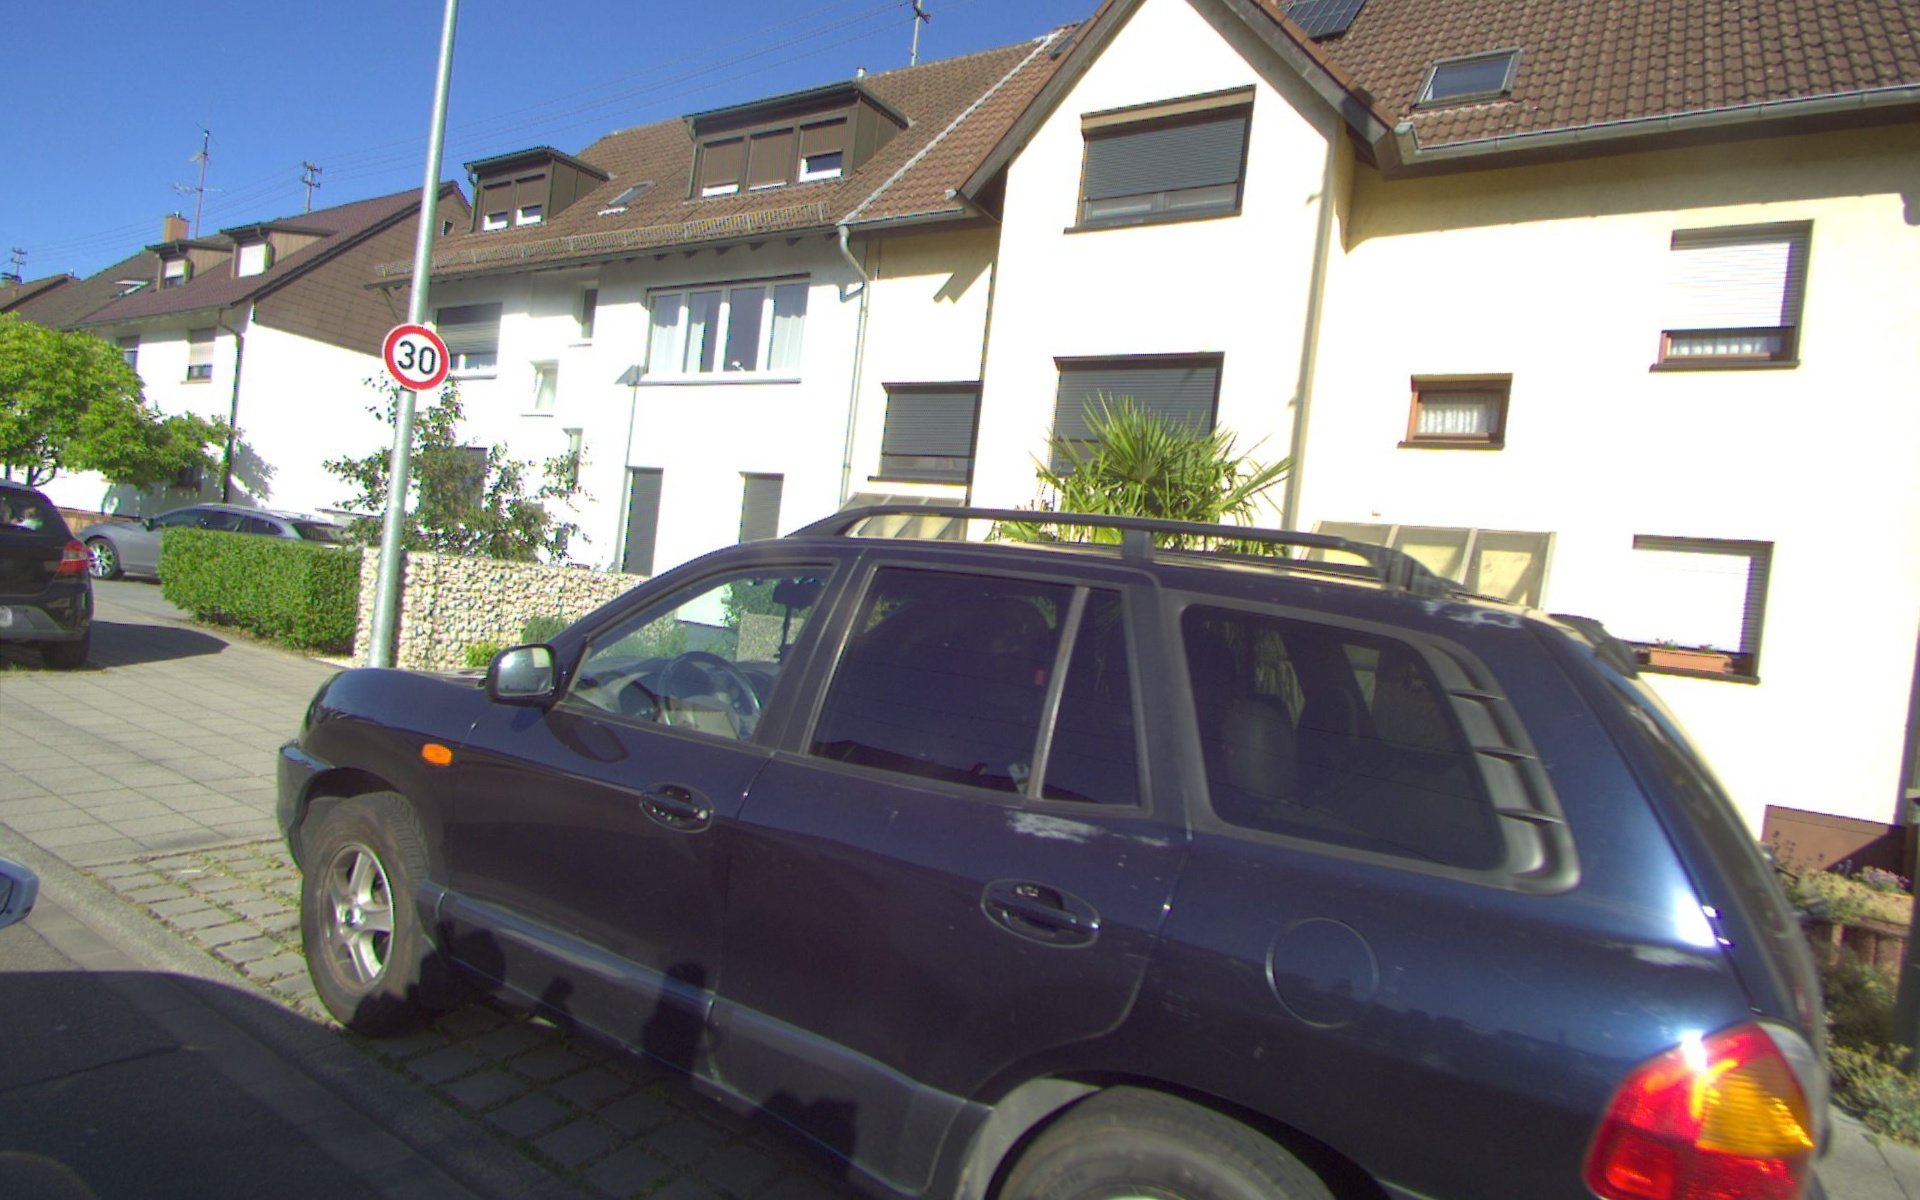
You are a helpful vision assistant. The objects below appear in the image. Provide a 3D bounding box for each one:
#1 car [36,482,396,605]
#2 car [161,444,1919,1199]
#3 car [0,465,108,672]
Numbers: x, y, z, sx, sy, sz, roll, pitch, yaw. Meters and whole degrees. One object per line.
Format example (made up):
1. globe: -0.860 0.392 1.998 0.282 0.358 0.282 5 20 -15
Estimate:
1. car: -12.591 -0.924 17.192 4.789 1.464 2.000 7 1 7
2. car: -0.295 0.593 3.051 4.399 1.680 1.856 7 0 32
3. car: -8.909 -0.424 8.421 3.773 1.568 1.666 7 2 33
